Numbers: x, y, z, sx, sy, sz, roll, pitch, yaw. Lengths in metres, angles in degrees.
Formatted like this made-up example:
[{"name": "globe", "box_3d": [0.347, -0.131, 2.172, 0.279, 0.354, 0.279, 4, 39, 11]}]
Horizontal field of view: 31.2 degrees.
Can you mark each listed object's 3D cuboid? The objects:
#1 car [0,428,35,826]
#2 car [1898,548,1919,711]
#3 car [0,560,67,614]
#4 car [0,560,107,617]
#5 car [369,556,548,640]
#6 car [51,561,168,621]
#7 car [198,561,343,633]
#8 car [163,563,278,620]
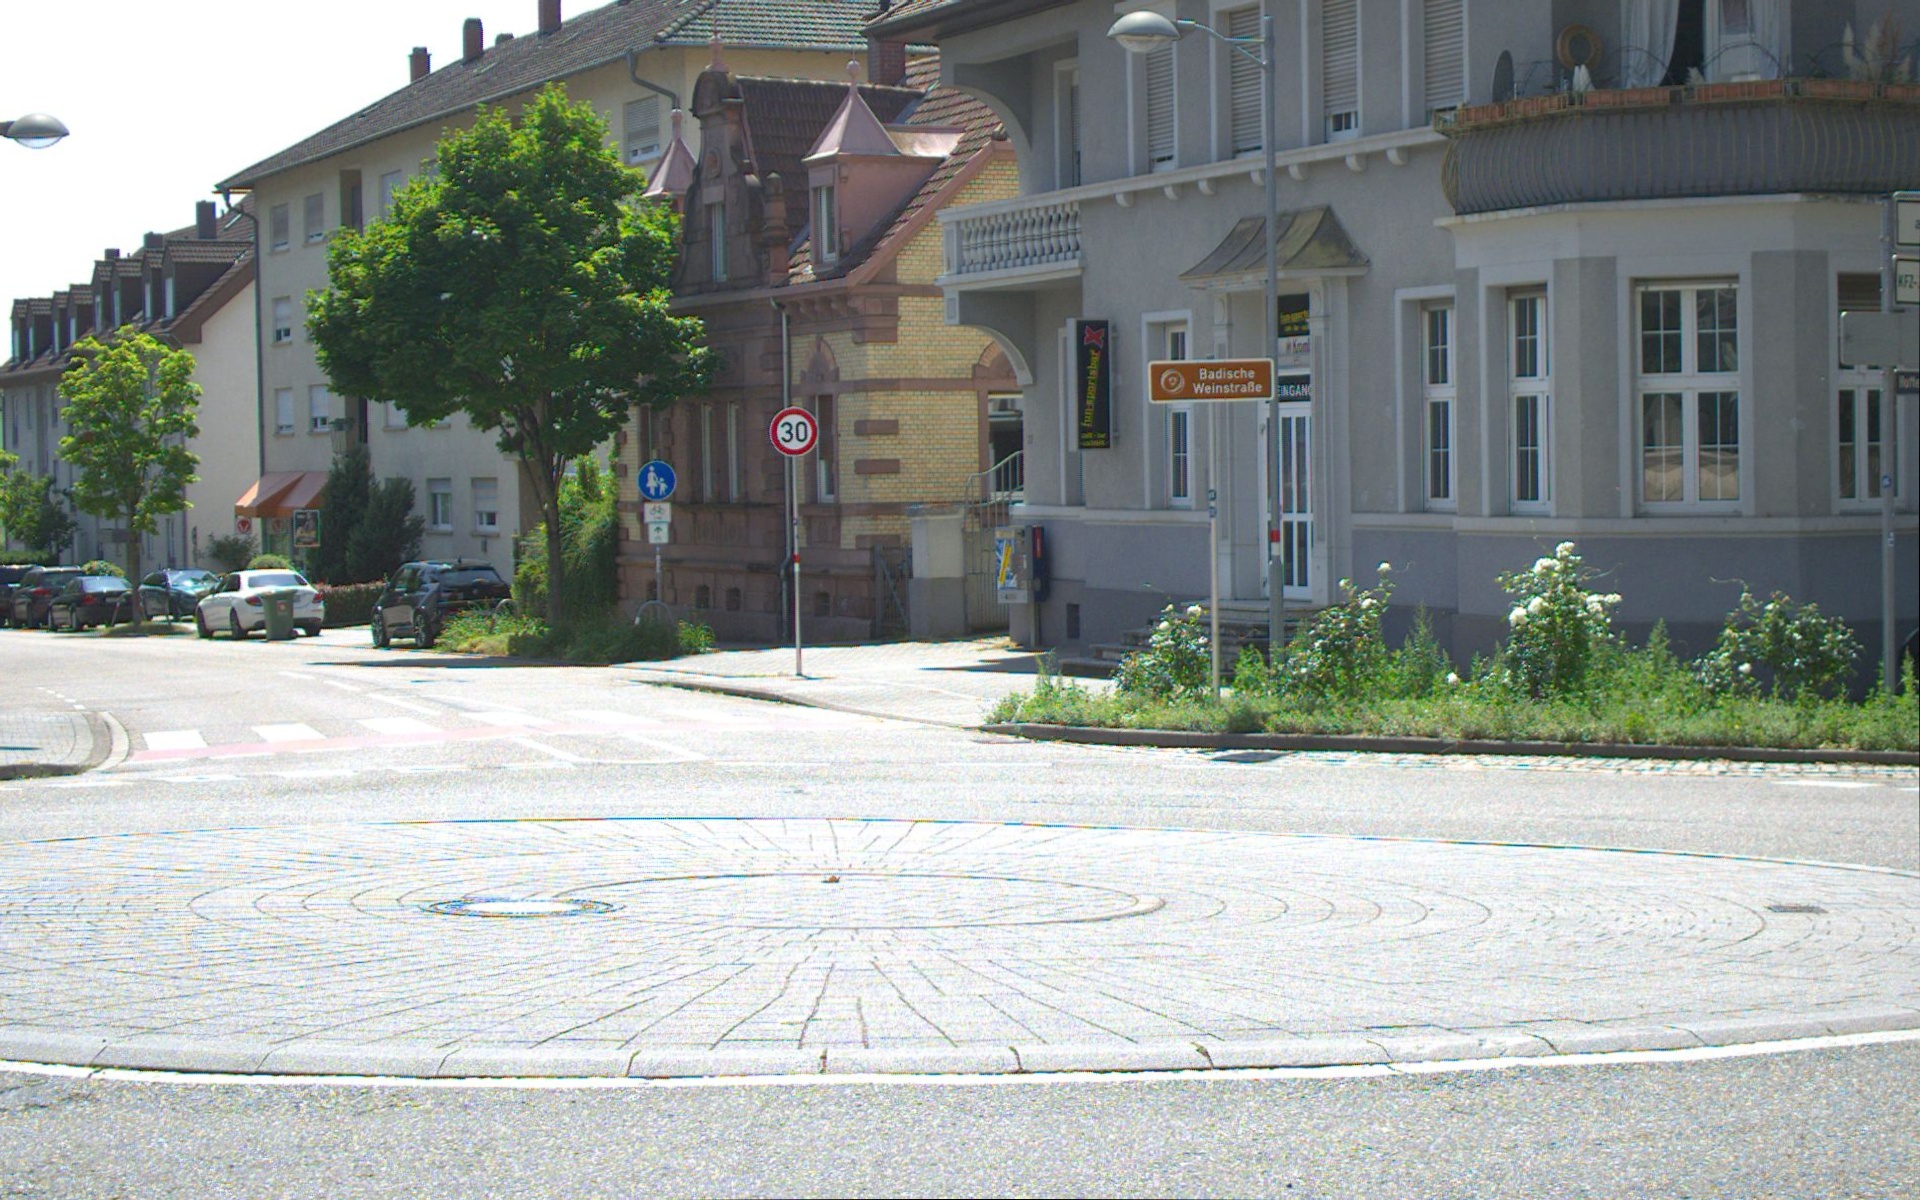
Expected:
[{"name": "car", "box_3d": [-6.698, 0.203, 15.356, 1.947, 1.952, 5.013, 1, 2, 30]}, {"name": "car", "box_3d": [10.134, 0.272, 29.726, 1.718, 1.455, 3.793, -1, 1, -30]}, {"name": "car", "box_3d": [-27.087, -0.394, 98.515, 1.993, 1.504, 4.420, 0, 1, -27]}, {"name": "car", "box_3d": [-24.769, -0.331, 93.806, 1.993, 1.504, 4.420, 0, 1, -27]}, {"name": "car", "box_3d": [-9.399, -0.067, 64.154, 1.993, 1.504, 4.420, 0, 1, -27]}, {"name": "car", "box_3d": [-21.917, -0.261, 88.471, 1.993, 1.504, 4.420, 0, 1, -27]}, {"name": "car", "box_3d": [-15.050, -0.096, 74.840, 1.993, 1.504, 4.420, 0, 1, -27]}, {"name": "car", "box_3d": [-20.125, -0.260, 93.427, 1.993, 1.504, 4.420, 0, 1, -27]}]
